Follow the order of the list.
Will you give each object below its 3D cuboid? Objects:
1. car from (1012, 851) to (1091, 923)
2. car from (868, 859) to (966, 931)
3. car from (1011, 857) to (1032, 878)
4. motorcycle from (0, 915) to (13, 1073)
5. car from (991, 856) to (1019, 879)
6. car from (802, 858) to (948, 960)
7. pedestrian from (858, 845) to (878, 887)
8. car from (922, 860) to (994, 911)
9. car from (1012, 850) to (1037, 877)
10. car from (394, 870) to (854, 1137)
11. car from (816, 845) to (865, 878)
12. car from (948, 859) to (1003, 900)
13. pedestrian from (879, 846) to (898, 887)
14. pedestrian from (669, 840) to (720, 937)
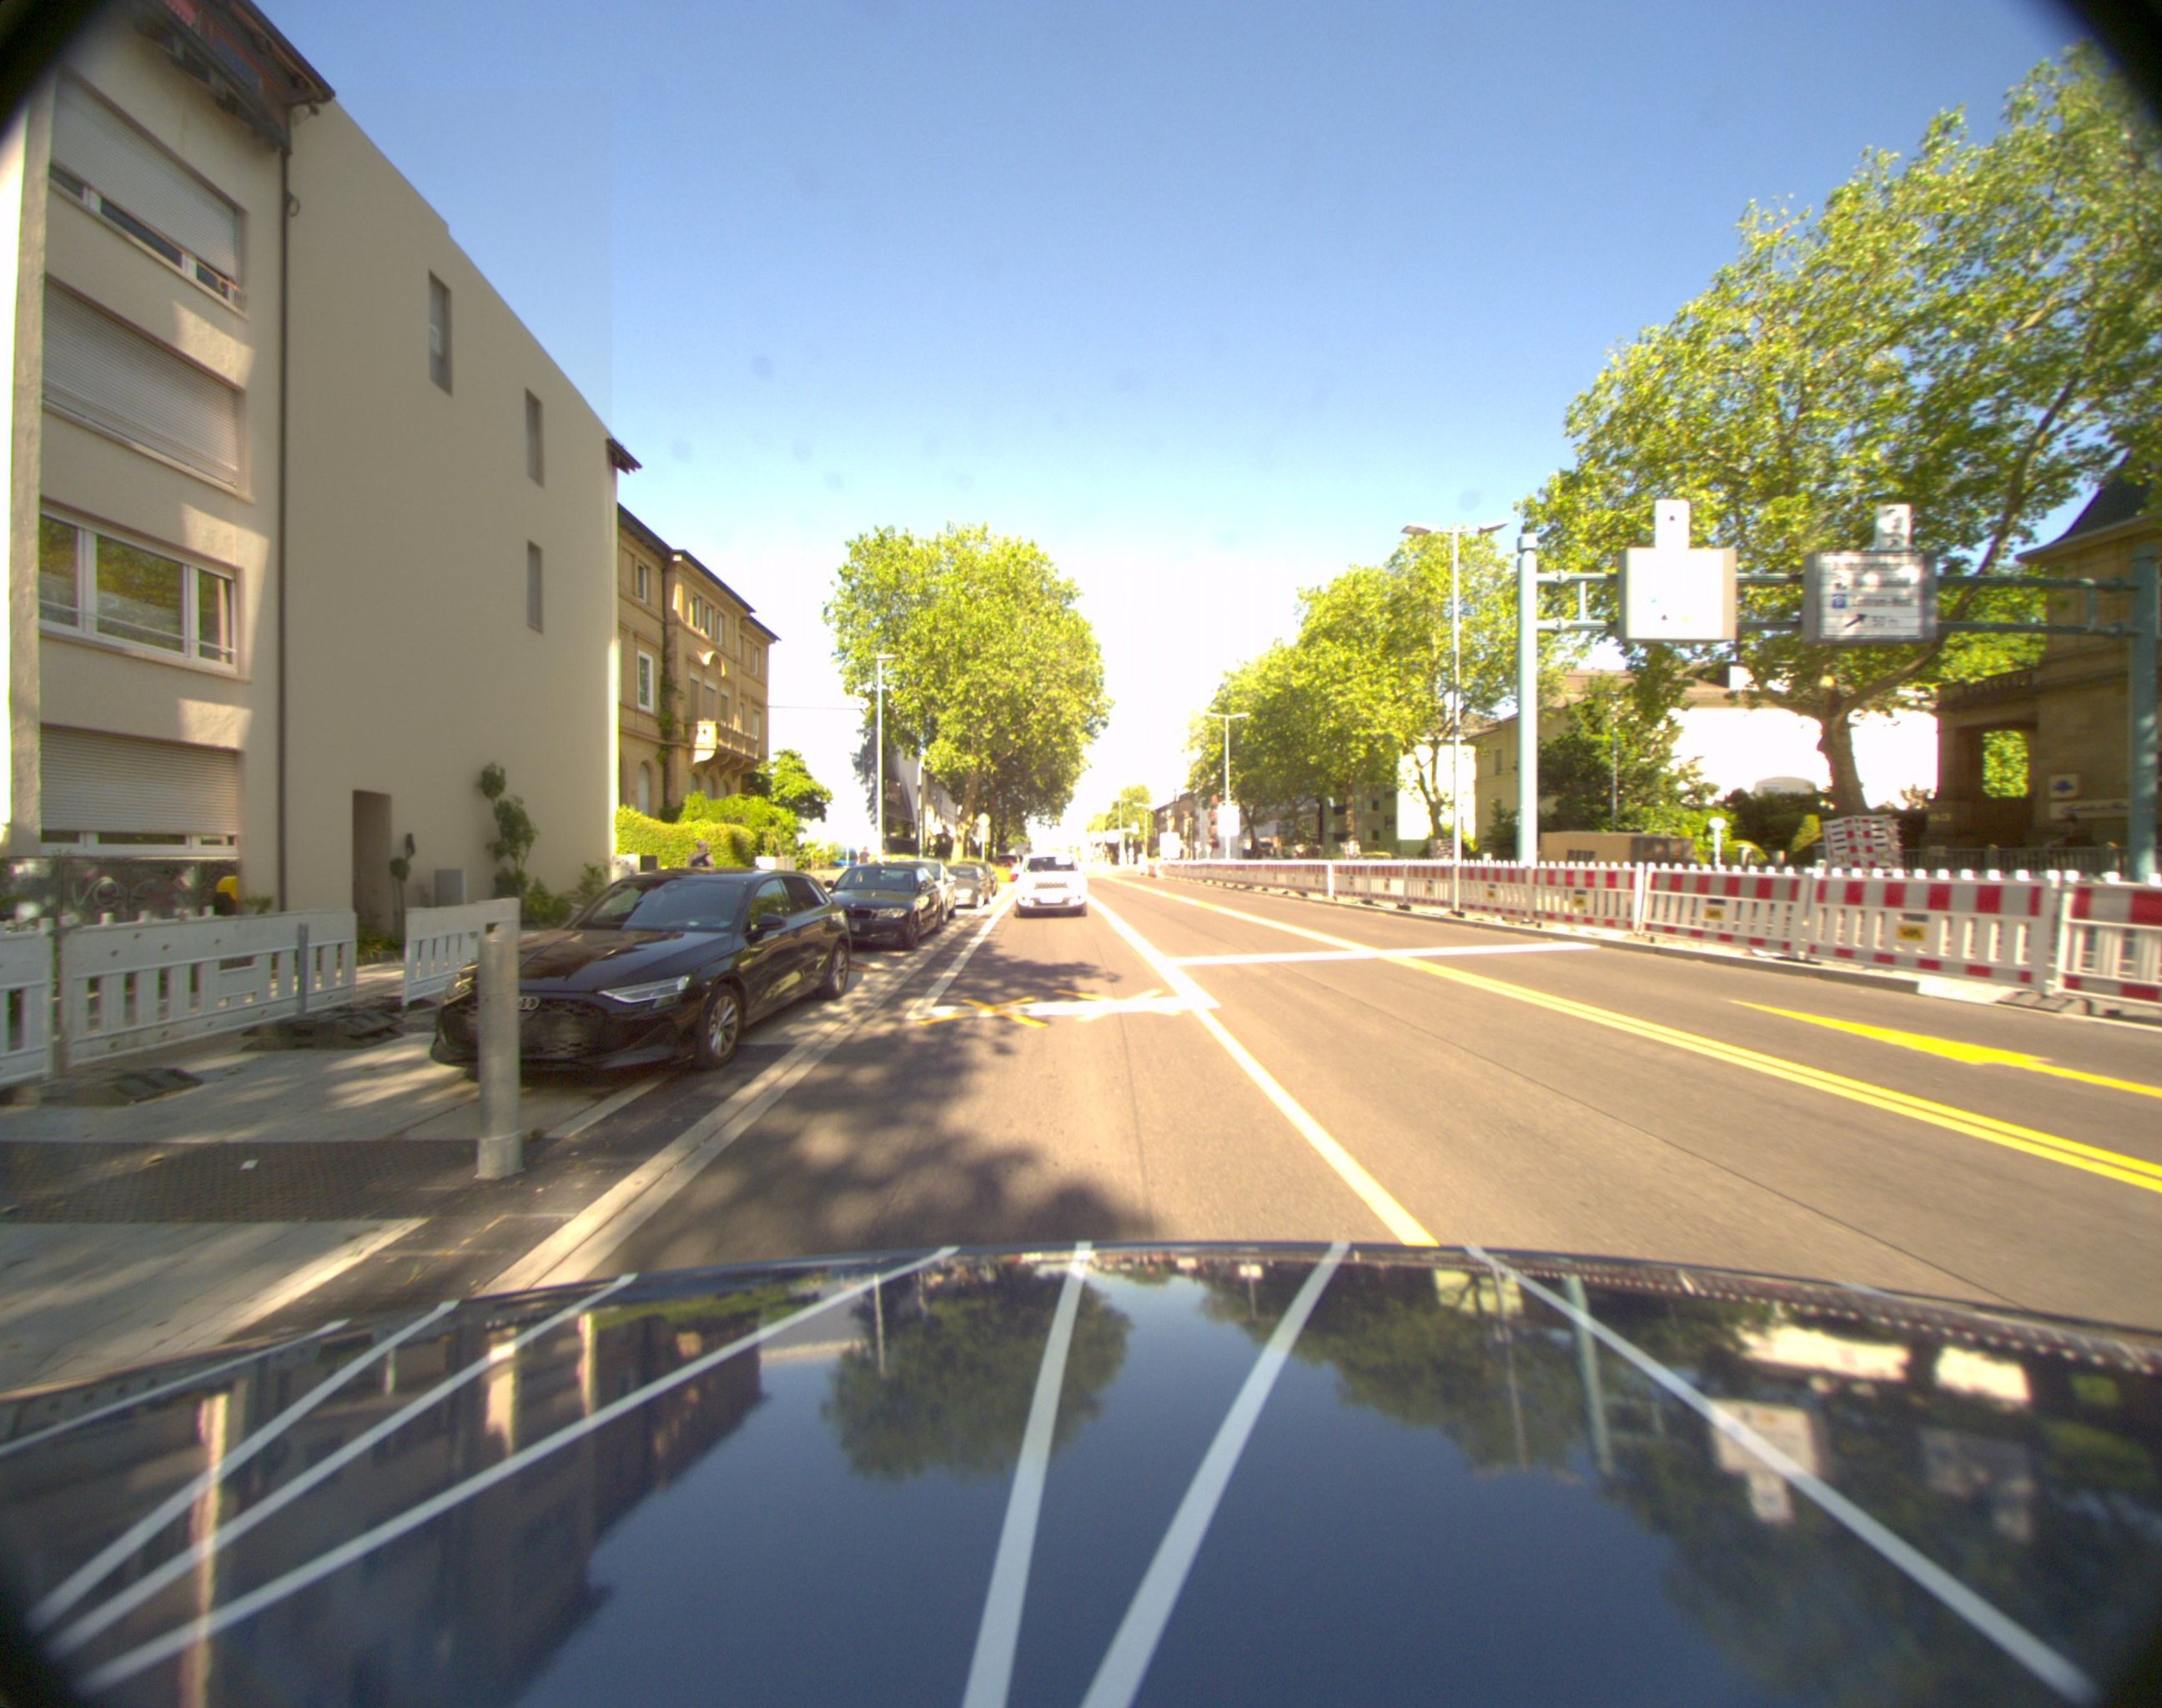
[{"bbox_3d":[-0.804,0.794,20.837,1.868,1.716,4.505,-2,0,-2],"label":"car"},{"bbox_3d":[-3.802,0.895,18.188,1.624,1.477,3.733,1,0,-2],"label":"car"},{"bbox_3d":[-4.953,1.088,63.758,1.631,1.625,4.219,0,0,-2],"label":"car"},{"bbox_3d":[-8.454,1.057,4.993,0.598,1.179,1.556,0,0,5],"label":"motorcycle"},{"bbox_3d":[-5.095,0.880,51.439,1.674,1.509,3.996,0,0,-2],"label":"car"},{"bbox_3d":[-3.471,0.851,13.536,1.624,1.477,4.056,1,0,-2],"label":"car"},{"bbox_3d":[-9.354,0.522,33.421,0.699,1.786,0.801,0,1,-2],"label":"pedestrian"},{"bbox_3d":[-3.799,0.943,24.067,1.721,1.404,4.047,1,0,-2],"label":"car"},{"bbox_3d":[-4.227,0.712,57.458,1.754,1.954,4.505,0,0,-2],"label":"car"},{"bbox_3d":[-3.335,0.947,6.593,1.624,1.477,4.096,1,0,-2],"label":"car"},{"bbox_3d":[-13.997,0.419,44.017,1.803,1.811,3.990,0,1,-32],"label":"car"},{"bbox_3d":[-4.197,0.972,30.847,1.721,1.404,4.475,3,0,-2],"label":"car"},{"bbox_3d":[-8.448,0.552,33.388,0.699,1.786,0.714,0,1,-2],"label":"pedestrian"},{"bbox_3d":[-7.525,0.664,14.815,0.666,1.838,0.694,0,1,-2],"label":"pedestrian"}]
